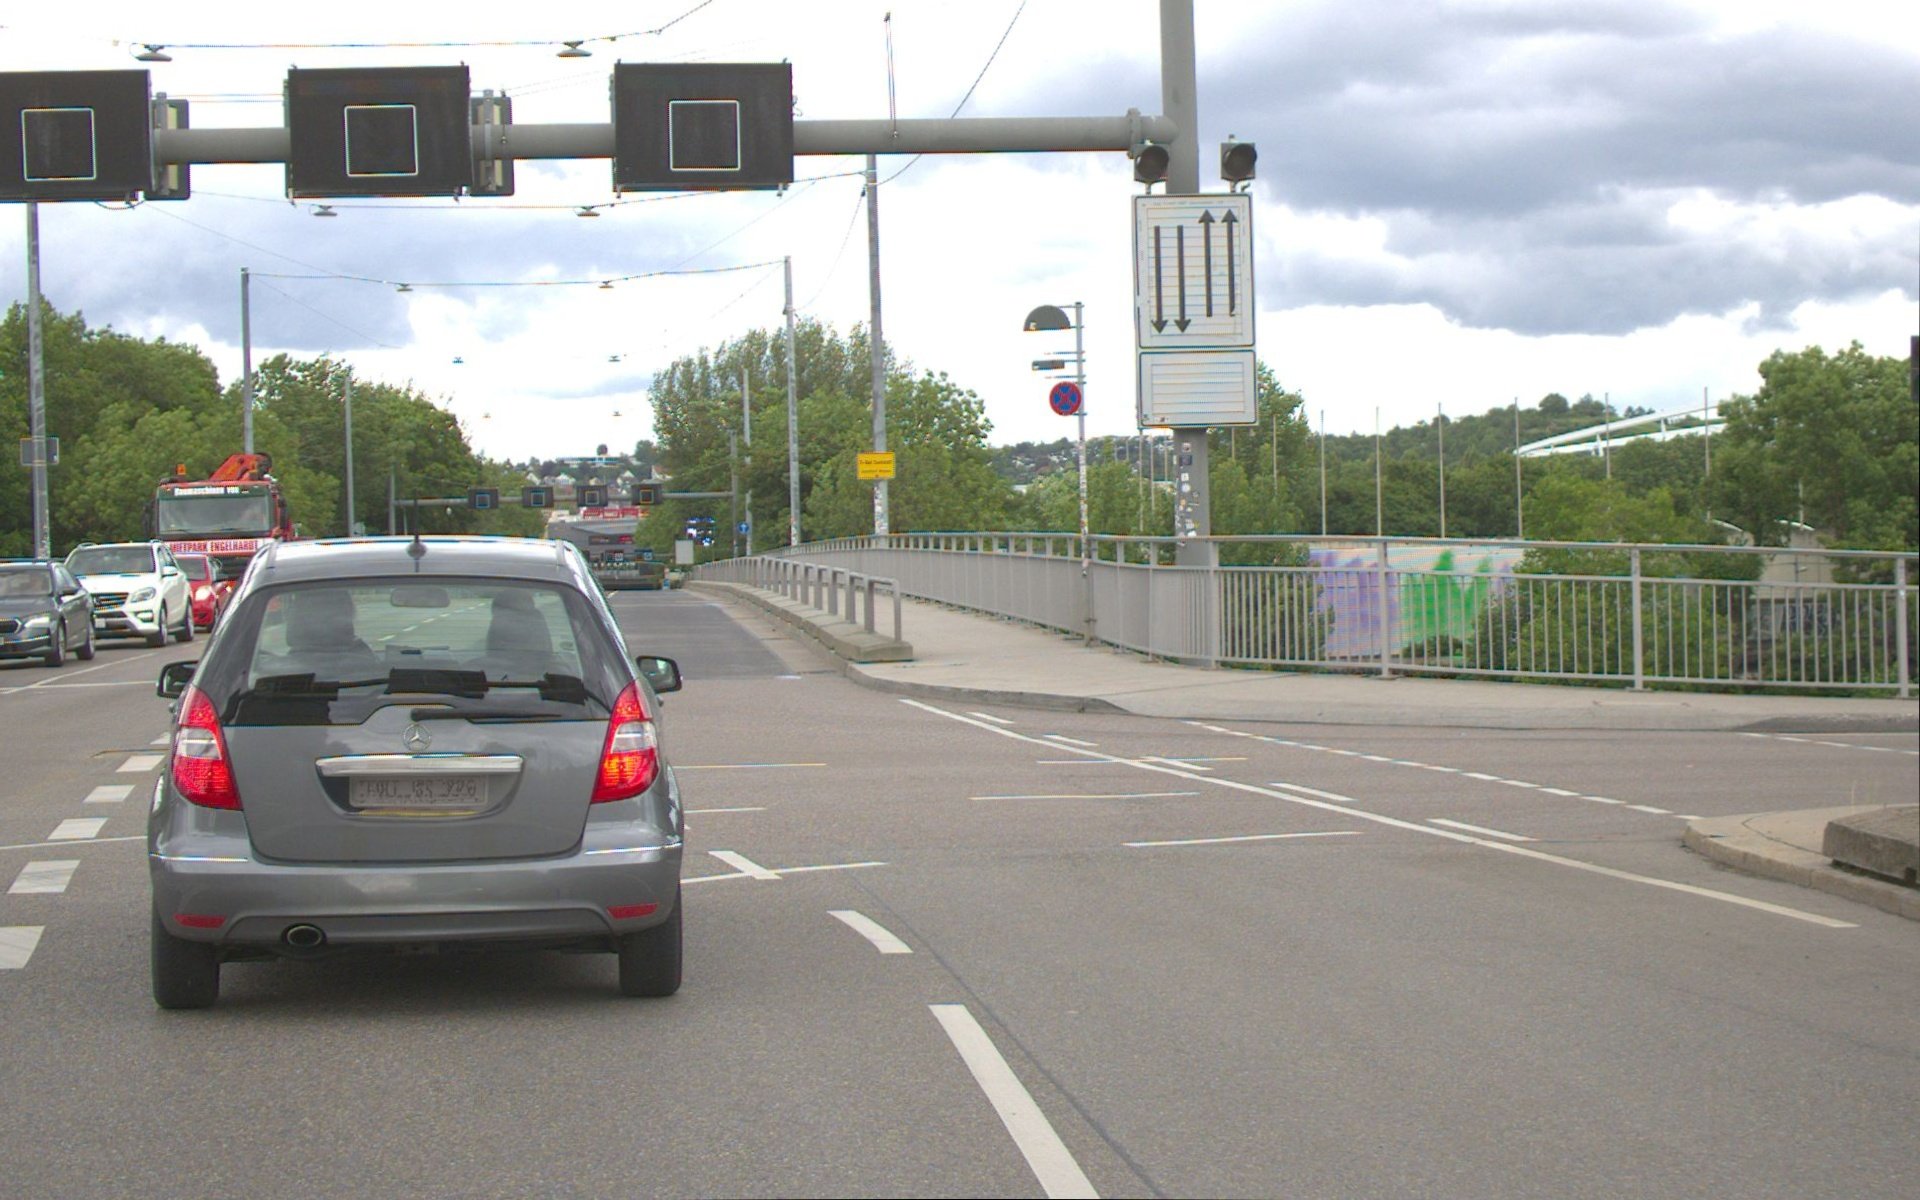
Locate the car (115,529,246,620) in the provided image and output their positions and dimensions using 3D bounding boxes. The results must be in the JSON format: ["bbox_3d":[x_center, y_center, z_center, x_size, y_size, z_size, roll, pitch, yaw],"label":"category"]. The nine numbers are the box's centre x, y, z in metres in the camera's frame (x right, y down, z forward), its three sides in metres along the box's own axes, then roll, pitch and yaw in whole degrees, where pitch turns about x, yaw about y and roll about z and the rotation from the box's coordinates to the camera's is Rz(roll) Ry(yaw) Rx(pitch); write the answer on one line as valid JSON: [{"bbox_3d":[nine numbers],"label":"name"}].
[{"bbox_3d":[-14.743,-0.502,65.188,1.879,1.597,4.016,-2,1,-6],"label":"car"}]

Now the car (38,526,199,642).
[{"bbox_3d":[-13.845,-0.301,56.795,1.879,1.755,4.804,-2,1,-6],"label":"car"}]

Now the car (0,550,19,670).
[{"bbox_3d":[-12.912,0.181,42.173,1.835,1.499,3.872,-2,1,-4],"label":"car"}]

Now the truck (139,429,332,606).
[{"bbox_3d":[-15.854,-1.804,75.927,3.005,3.553,9.984,-2,1,-6],"label":"truck"}]

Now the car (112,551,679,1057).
[{"bbox_3d":[-1.967,0.609,12.728,1.745,1.545,3.872,-1,1,-6],"label":"car"}]

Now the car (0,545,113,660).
[{"bbox_3d":[-13.247,0.023,48.526,1.835,1.499,4.518,-2,1,-6],"label":"car"}]
